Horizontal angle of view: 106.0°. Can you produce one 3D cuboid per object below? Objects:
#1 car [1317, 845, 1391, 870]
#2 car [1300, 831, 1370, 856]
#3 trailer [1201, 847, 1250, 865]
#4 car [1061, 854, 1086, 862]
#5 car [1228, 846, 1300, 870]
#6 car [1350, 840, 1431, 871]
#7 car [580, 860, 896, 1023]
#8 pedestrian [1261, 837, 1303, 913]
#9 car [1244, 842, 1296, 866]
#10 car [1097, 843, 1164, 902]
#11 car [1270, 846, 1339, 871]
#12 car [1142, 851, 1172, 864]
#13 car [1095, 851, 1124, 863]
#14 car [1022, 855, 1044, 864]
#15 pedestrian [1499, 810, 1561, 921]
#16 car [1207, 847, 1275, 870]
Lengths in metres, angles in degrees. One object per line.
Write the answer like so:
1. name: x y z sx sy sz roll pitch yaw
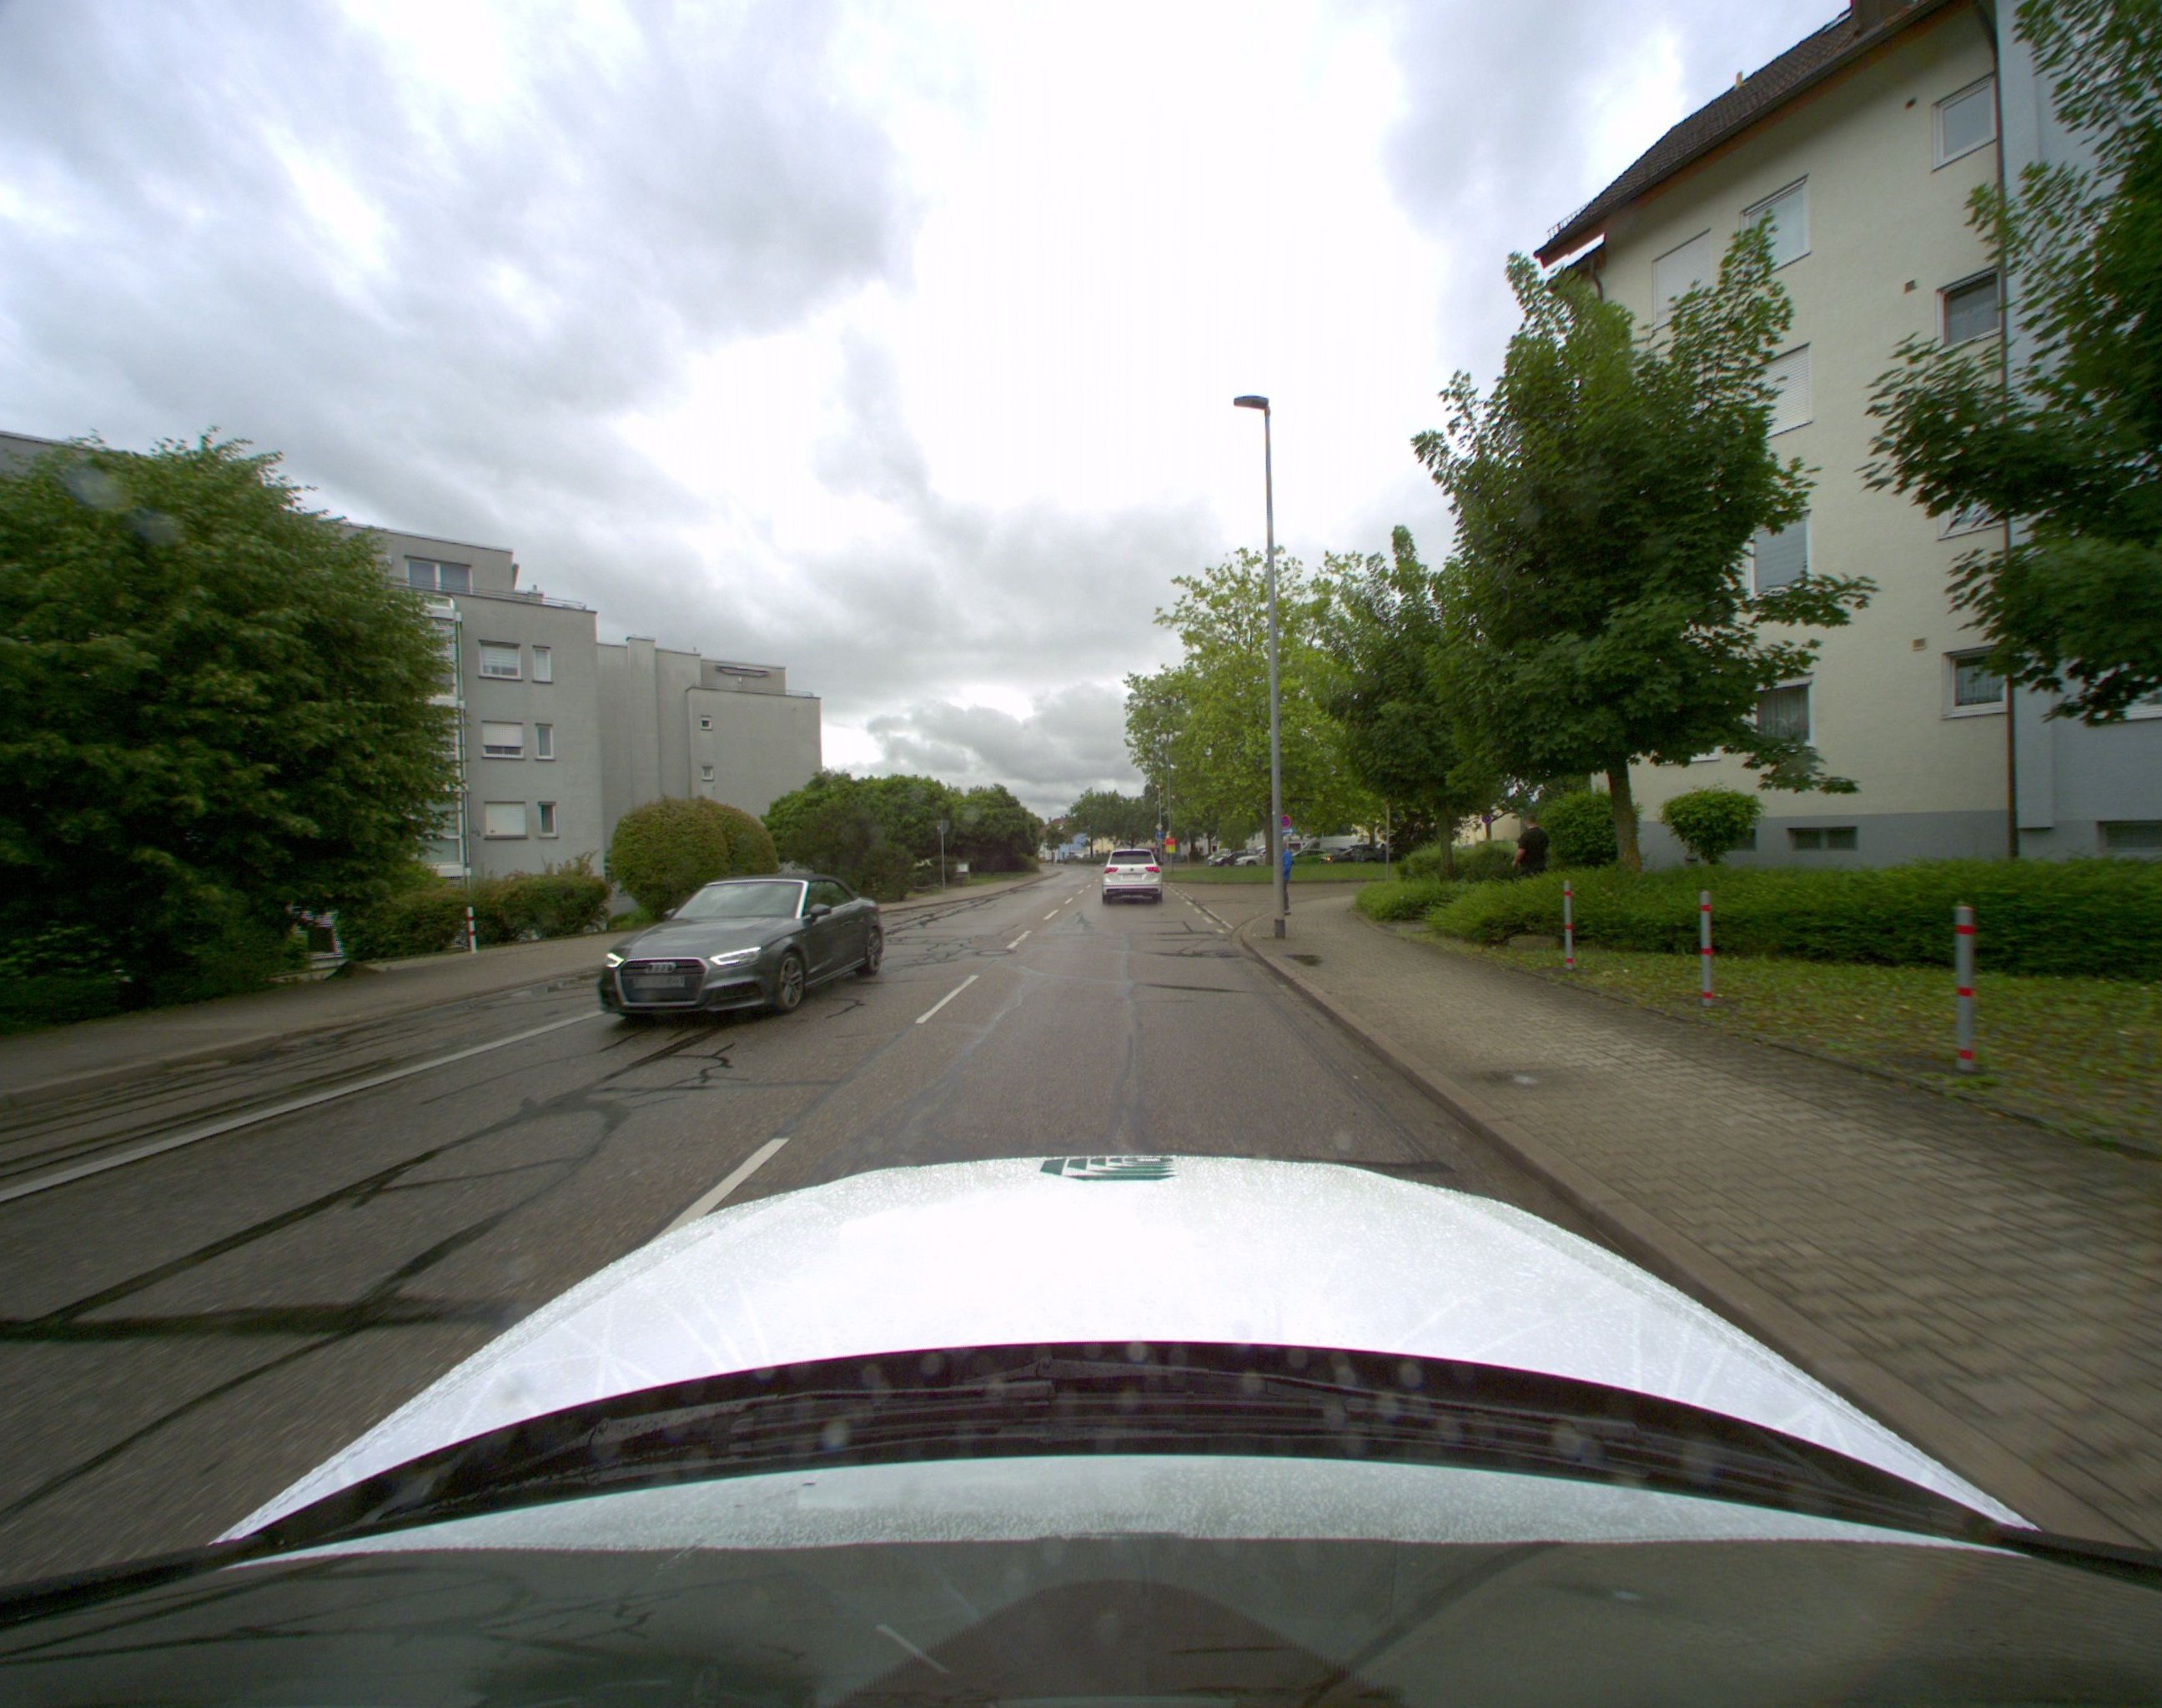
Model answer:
1. car: 16.897 0.210 50.539 4.000 1.371 1.763 -3 0 -3
2. car: 23.389 -0.965 75.135 5.816 2.013 1.995 -3 0 -8
3. trailer: 13.089 0.199 74.026 2.007 1.543 4.382 -2 0 -31
4. car: -1.347 0.697 139.398 4.017 1.387 1.656 -1 0 -36
5. car: 12.739 0.259 56.732 4.562 1.443 1.763 -3 0 -3
6. car: 18.115 0.072 47.836 4.250 1.626 1.771 -3 0 13
7. car: -3.624 0.825 9.506 1.666 1.443 4.006 -1 0 5
8. pedestrian: 4.506 0.458 18.262 0.590 1.666 0.772 -1 0 -13
9. car: 15.964 0.033 68.847 2.005 1.881 4.175 -2 0 -27
10. car: 1.573 0.546 25.804 1.857 1.650 4.004 -3 0 3
11. car: 14.763 0.266 53.930 4.000 1.443 1.763 -3 0 -3
12. car: 11.058 0.493 118.943 4.015 1.721 1.904 -2 0 -33
13. car: 4.528 0.451 129.592 4.207 1.671 1.972 -2 0 -31
14. car: -7.633 0.900 129.852 2.005 1.420 3.964 -1 0 -27
15. pedestrian: 7.398 0.178 13.449 0.611 1.772 0.671 -1 0 0
16. car: 11.632 0.315 59.328 4.562 1.443 1.763 -3 0 -3
